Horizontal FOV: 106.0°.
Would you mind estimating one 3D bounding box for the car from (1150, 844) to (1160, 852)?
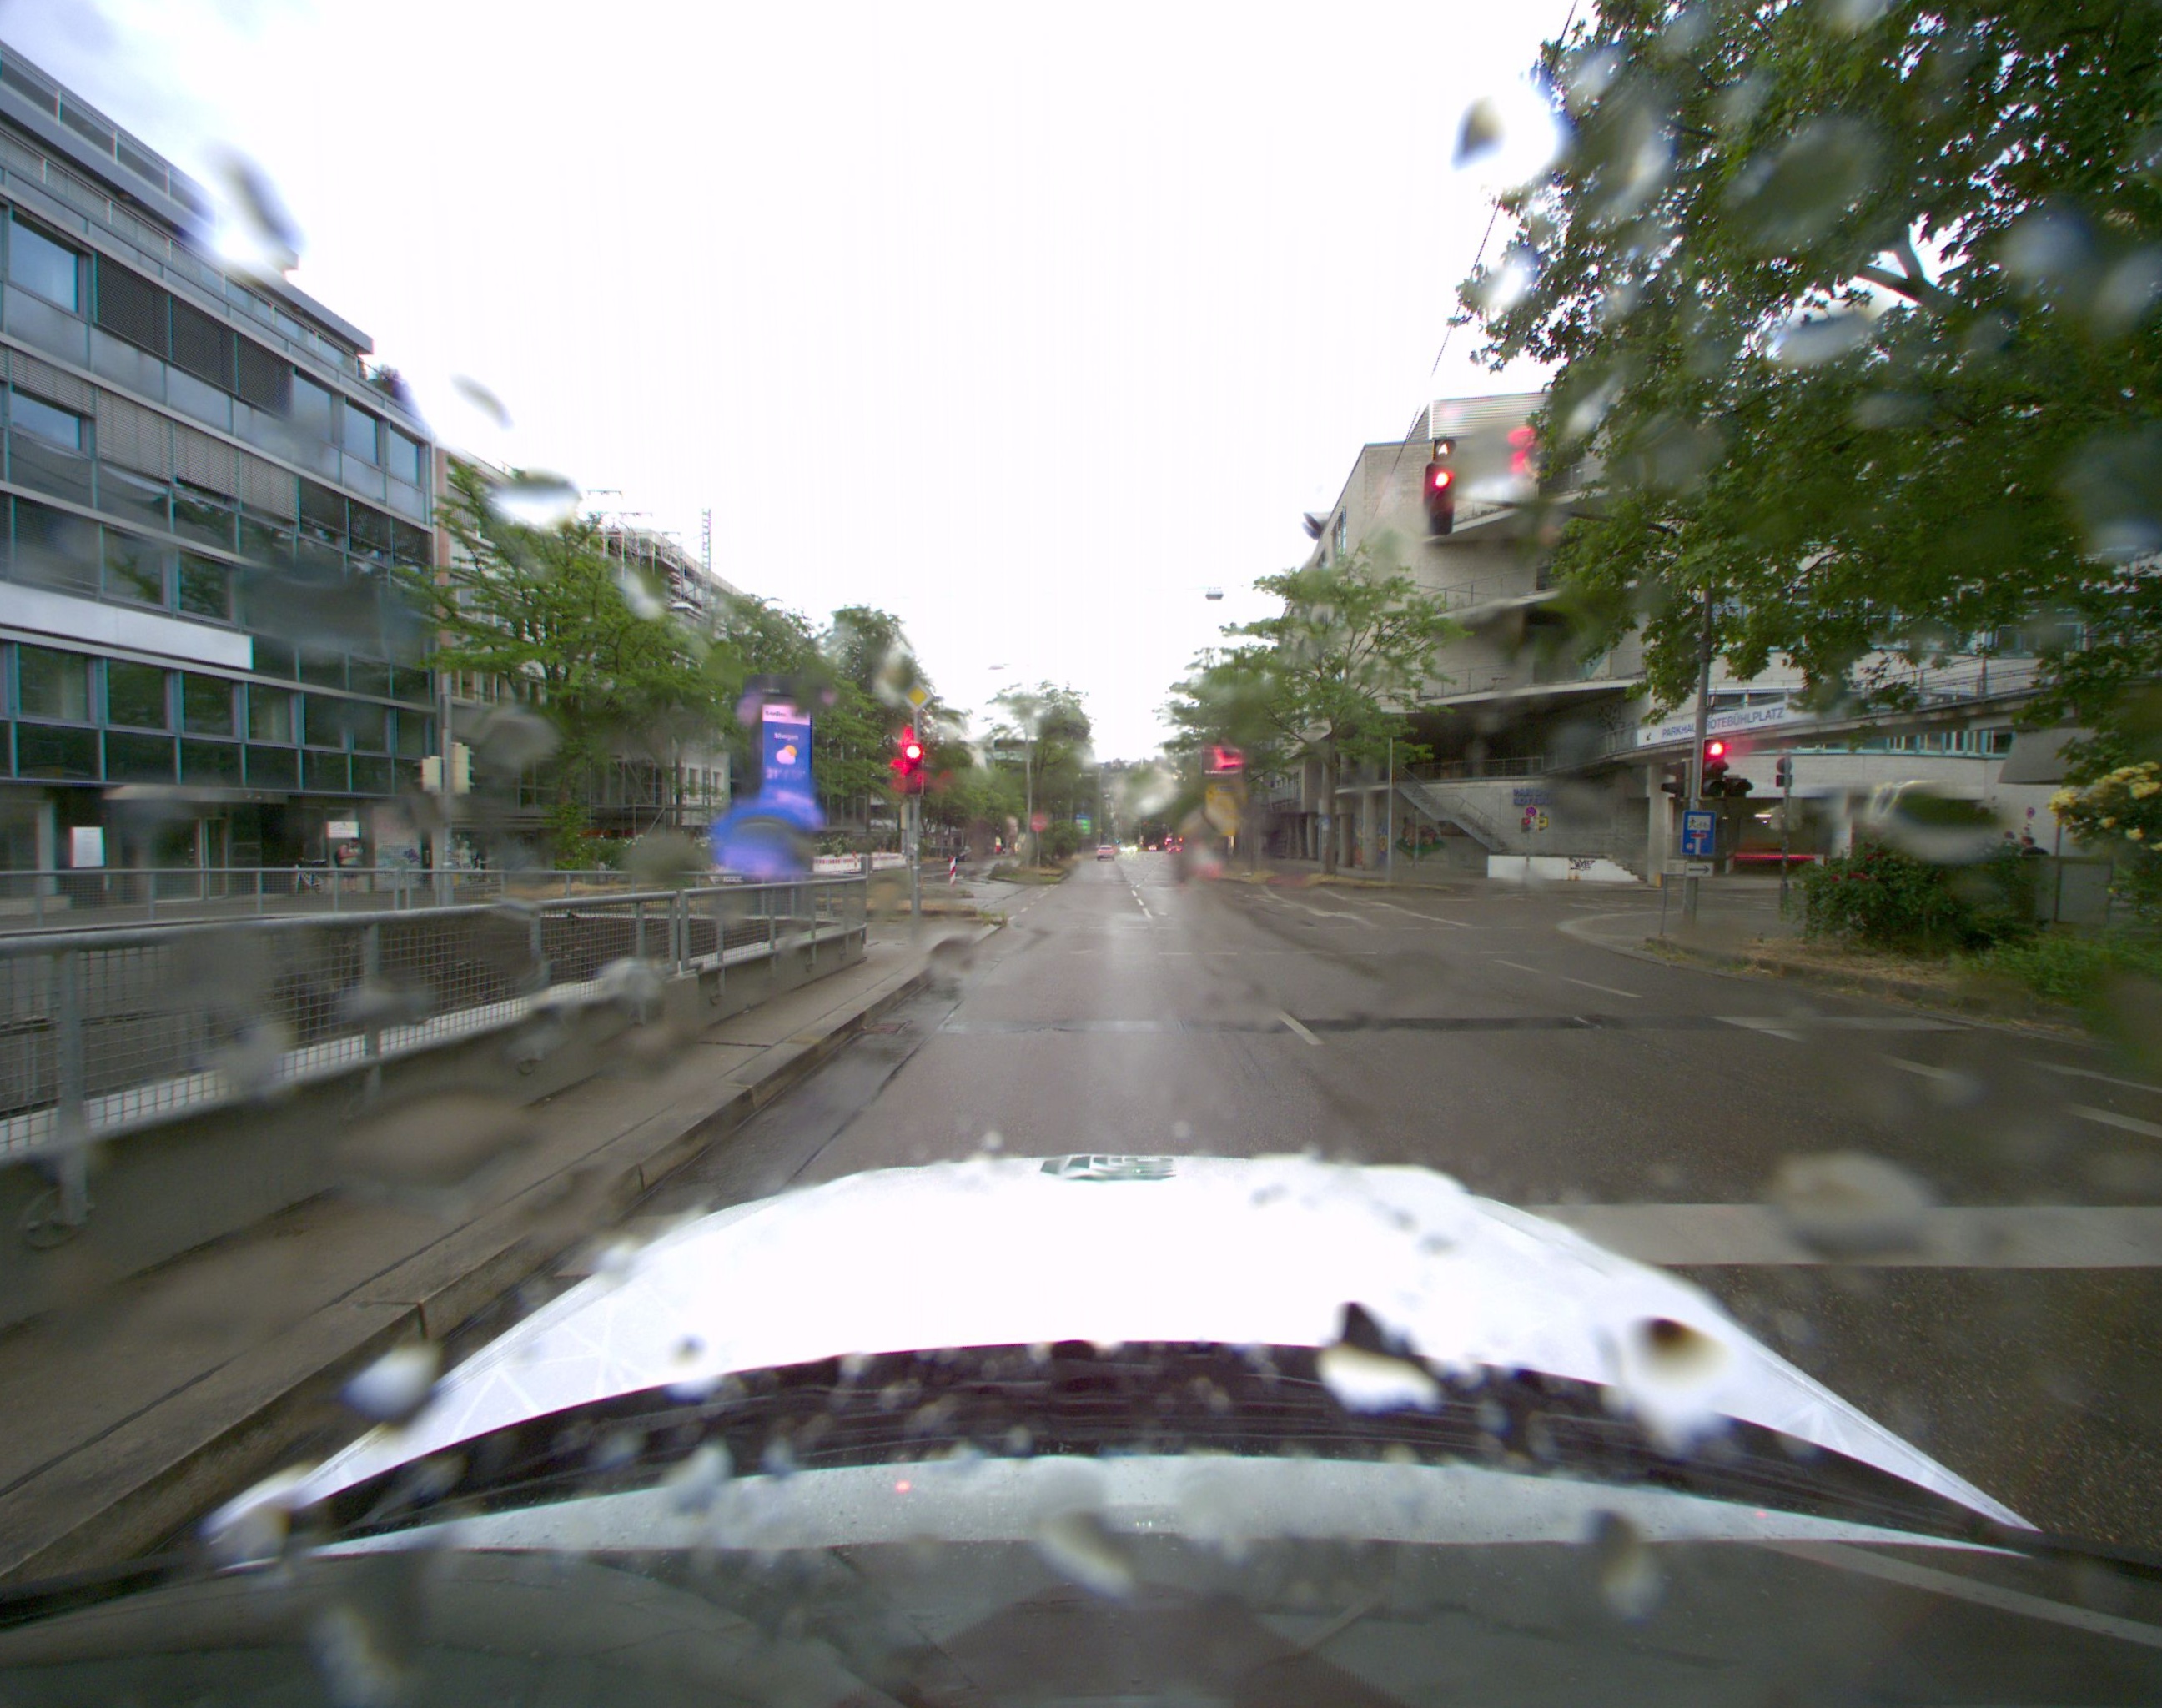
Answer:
[{"bbox_3d":[18.896,-1.510,208.067,1.979,1.758,4.015,1,0,14],"label":"car"}]

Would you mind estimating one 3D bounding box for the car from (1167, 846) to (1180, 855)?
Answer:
[{"bbox_3d":[17.624,-0.636,155.249,1.986,1.723,4.001,0,-1,1],"label":"car"}]

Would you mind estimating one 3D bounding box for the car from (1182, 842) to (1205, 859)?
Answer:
[{"bbox_3d":[11.534,-0.344,83.352,2.324,1.691,4.010,0,0,9],"label":"car"}]

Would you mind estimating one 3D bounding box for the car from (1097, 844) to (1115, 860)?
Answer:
[{"bbox_3d":[2.687,-0.192,88.362,1.823,1.640,4.299,1,0,0],"label":"car"}]

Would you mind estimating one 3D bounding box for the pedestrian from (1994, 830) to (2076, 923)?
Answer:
[{"bbox_3d":[20.075,0.454,17.155,0.843,1.910,0.758,0,0,1],"label":"pedestrian"}]

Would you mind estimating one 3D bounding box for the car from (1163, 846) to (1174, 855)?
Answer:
[{"bbox_3d":[17.858,-0.651,166.649,1.986,1.736,4.001,0,-1,2],"label":"car"}]

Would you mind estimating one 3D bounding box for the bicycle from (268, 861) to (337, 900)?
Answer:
[{"bbox_3d":[-22.955,0.770,24.045,0.444,1.085,1.567,0,0,6],"label":"bicycle"}]

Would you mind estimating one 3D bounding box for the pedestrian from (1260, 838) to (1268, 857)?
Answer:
[{"bbox_3d":[18.601,-0.671,82.934,0.770,1.920,0.705,-1,-1,11],"label":"pedestrian"}]

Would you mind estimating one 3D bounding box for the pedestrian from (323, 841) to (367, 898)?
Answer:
[{"bbox_3d":[-22.809,0.482,25.245,0.694,1.741,0.694,1,0,-4],"label":"pedestrian"}]
